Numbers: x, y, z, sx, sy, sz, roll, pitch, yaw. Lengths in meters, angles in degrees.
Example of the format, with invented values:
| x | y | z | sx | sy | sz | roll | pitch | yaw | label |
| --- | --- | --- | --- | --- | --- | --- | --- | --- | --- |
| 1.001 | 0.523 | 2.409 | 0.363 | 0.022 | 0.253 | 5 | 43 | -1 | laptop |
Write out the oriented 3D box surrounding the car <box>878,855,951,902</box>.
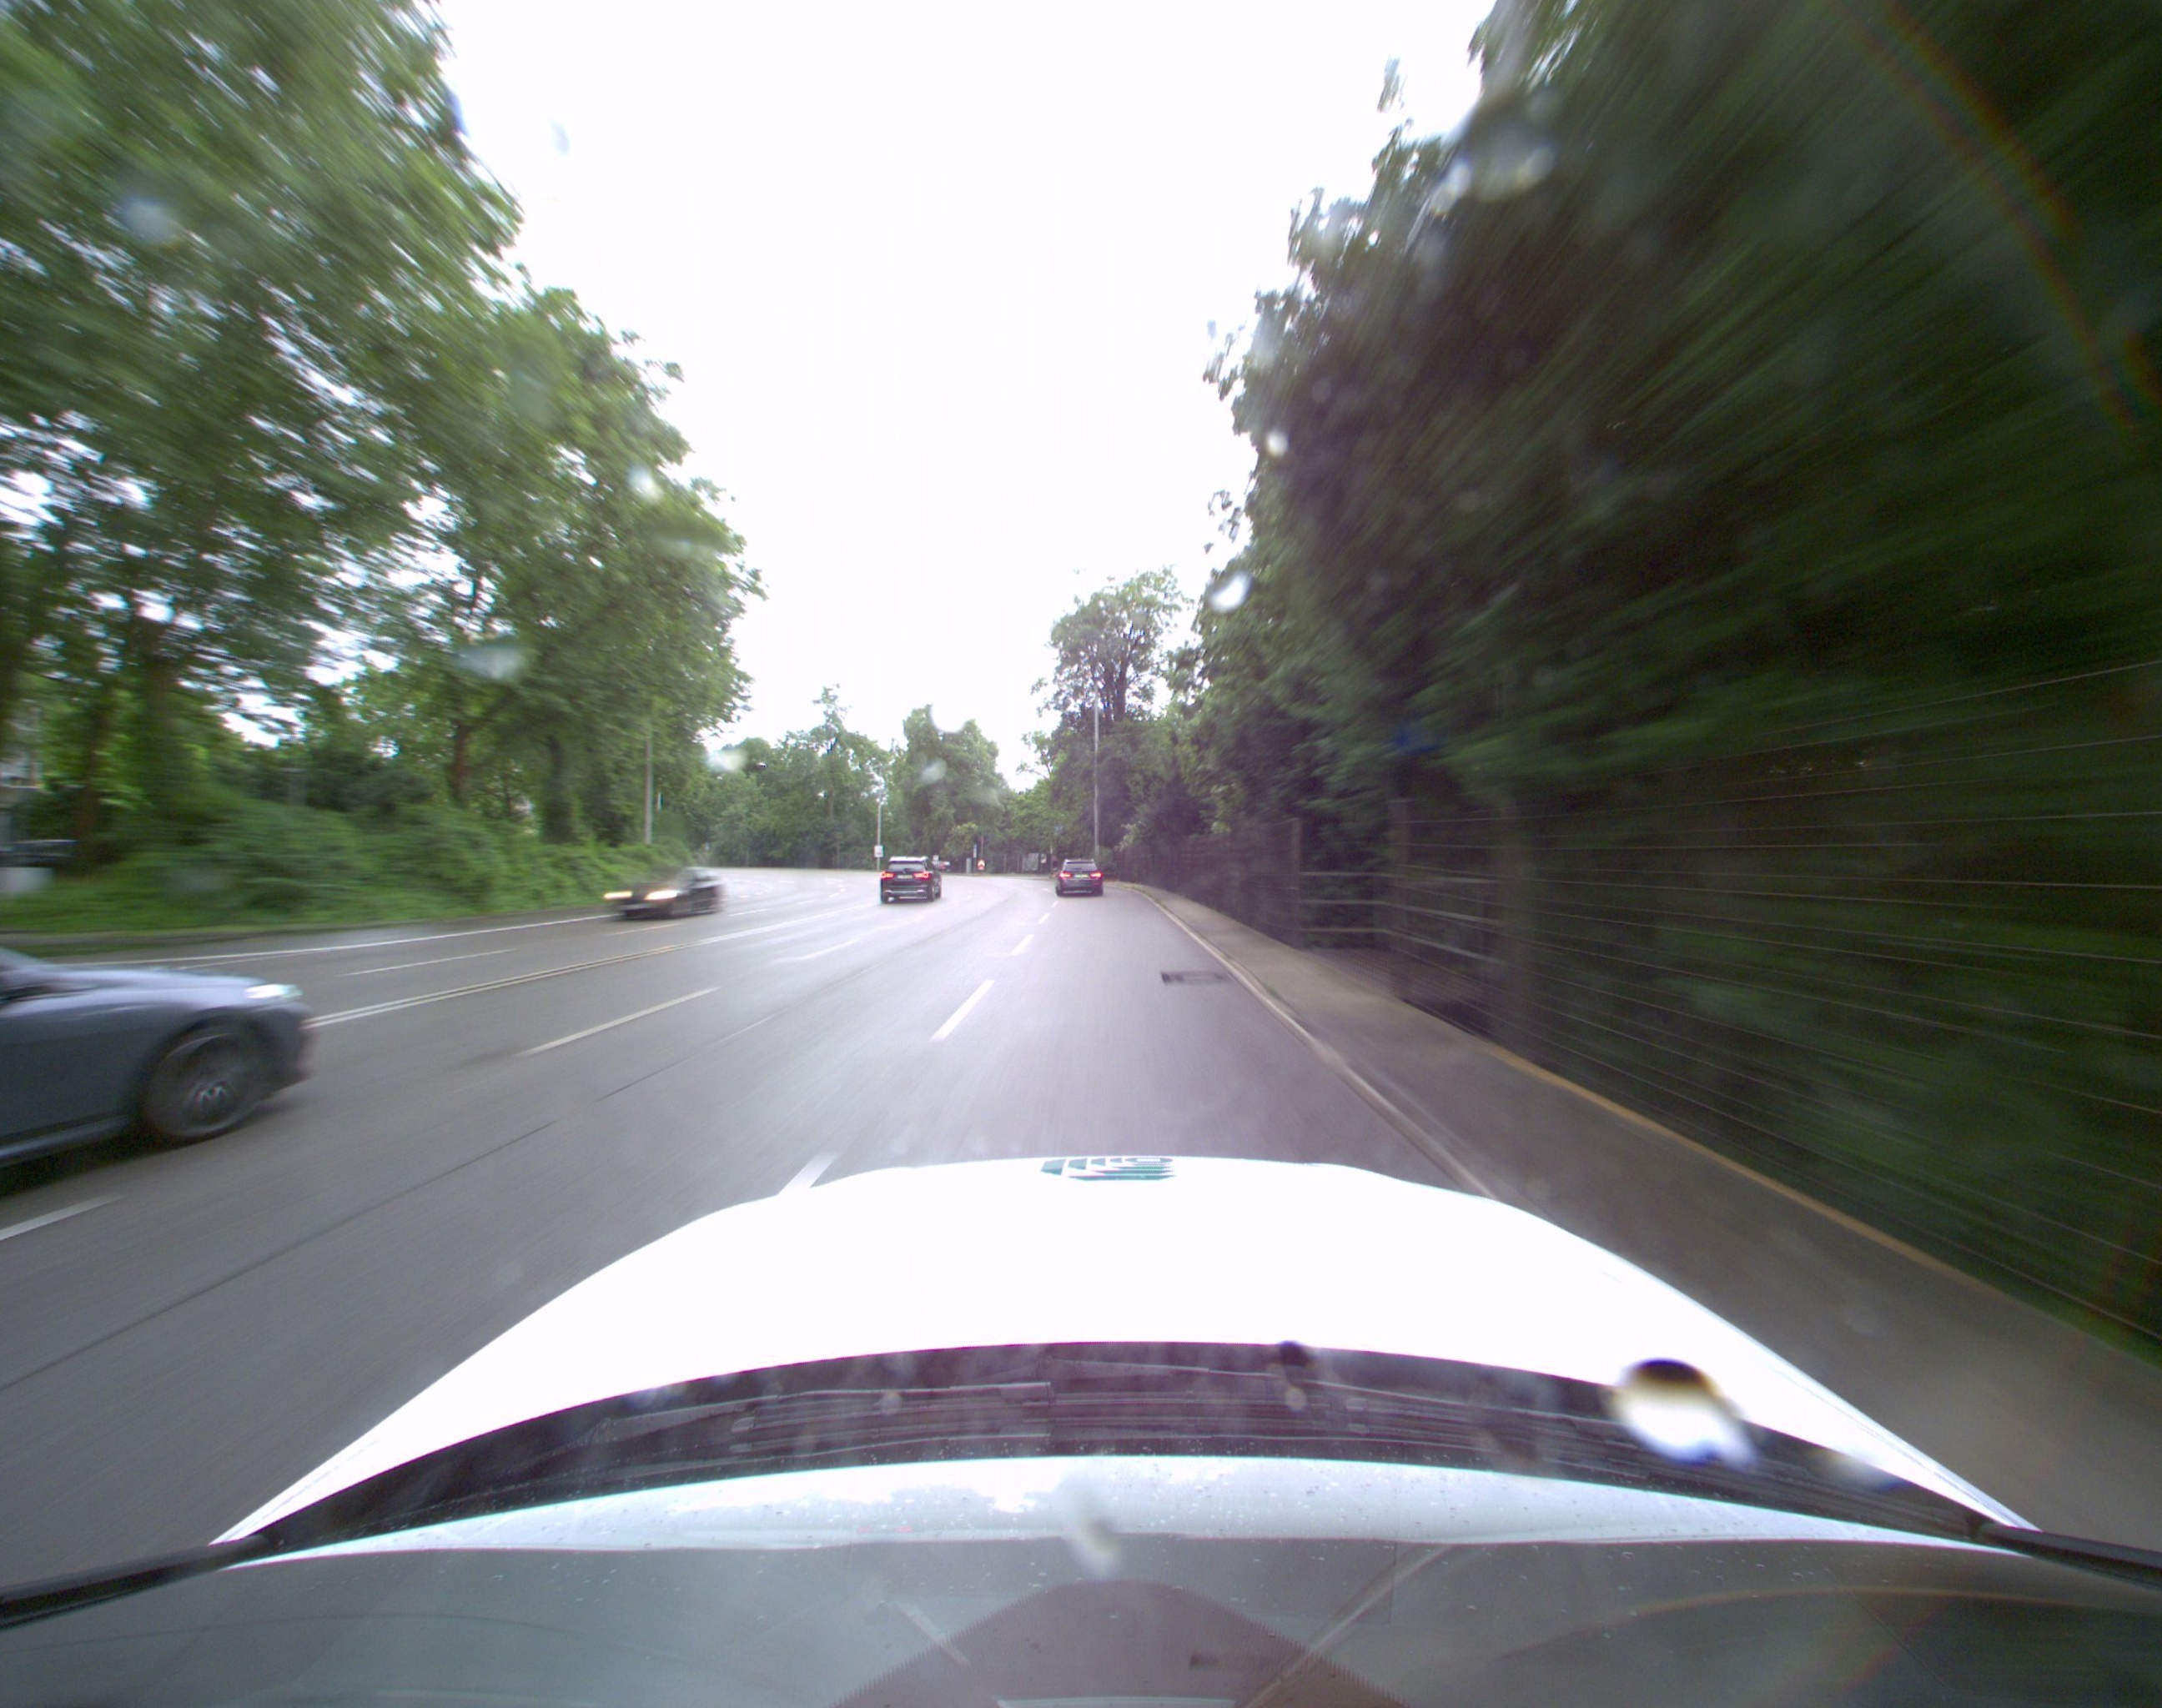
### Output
| x | y | z | sx | sy | sz | roll | pitch | yaw | label |
| --- | --- | --- | --- | --- | --- | --- | --- | --- | --- |
| -6.112 | 0.865 | 30.430 | 1.752 | 1.586 | 4.412 | 1 | 0 | 0 | car |

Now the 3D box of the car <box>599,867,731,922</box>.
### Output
| x | y | z | sx | sy | sz | roll | pitch | yaw | label |
| --- | --- | --- | --- | --- | --- | --- | --- | --- | --- |
| -11.527 | 1.076 | 22.877 | 1.696 | 1.339 | 3.915 | 0 | 0 | 0 | car |

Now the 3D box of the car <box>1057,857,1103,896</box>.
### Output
| x | y | z | sx | sy | sz | roll | pitch | yaw | label |
| --- | --- | --- | --- | --- | --- | --- | --- | --- | --- |
| -0.055 | 0.846 | 32.899 | 1.752 | 1.432 | 4.411 | -1 | 0 | -1 | car |

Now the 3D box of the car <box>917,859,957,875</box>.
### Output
| x | y | z | sx | sy | sz | roll | pitch | yaw | label |
| --- | --- | --- | --- | --- | --- | --- | --- | --- | --- |
| -14.533 | 1.278 | 82.180 | 4.316 | 1.427 | 1.702 | 0 | -4 | 44 | car |

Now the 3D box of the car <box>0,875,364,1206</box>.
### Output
| x | y | z | sx | sy | sz | roll | pitch | yaw | label |
| --- | --- | --- | --- | --- | --- | --- | --- | --- | --- |
| -5.607 | 0.841 | 3.107 | 1.659 | 1.415 | 4.540 | 0 | 0 | 1 | car |
